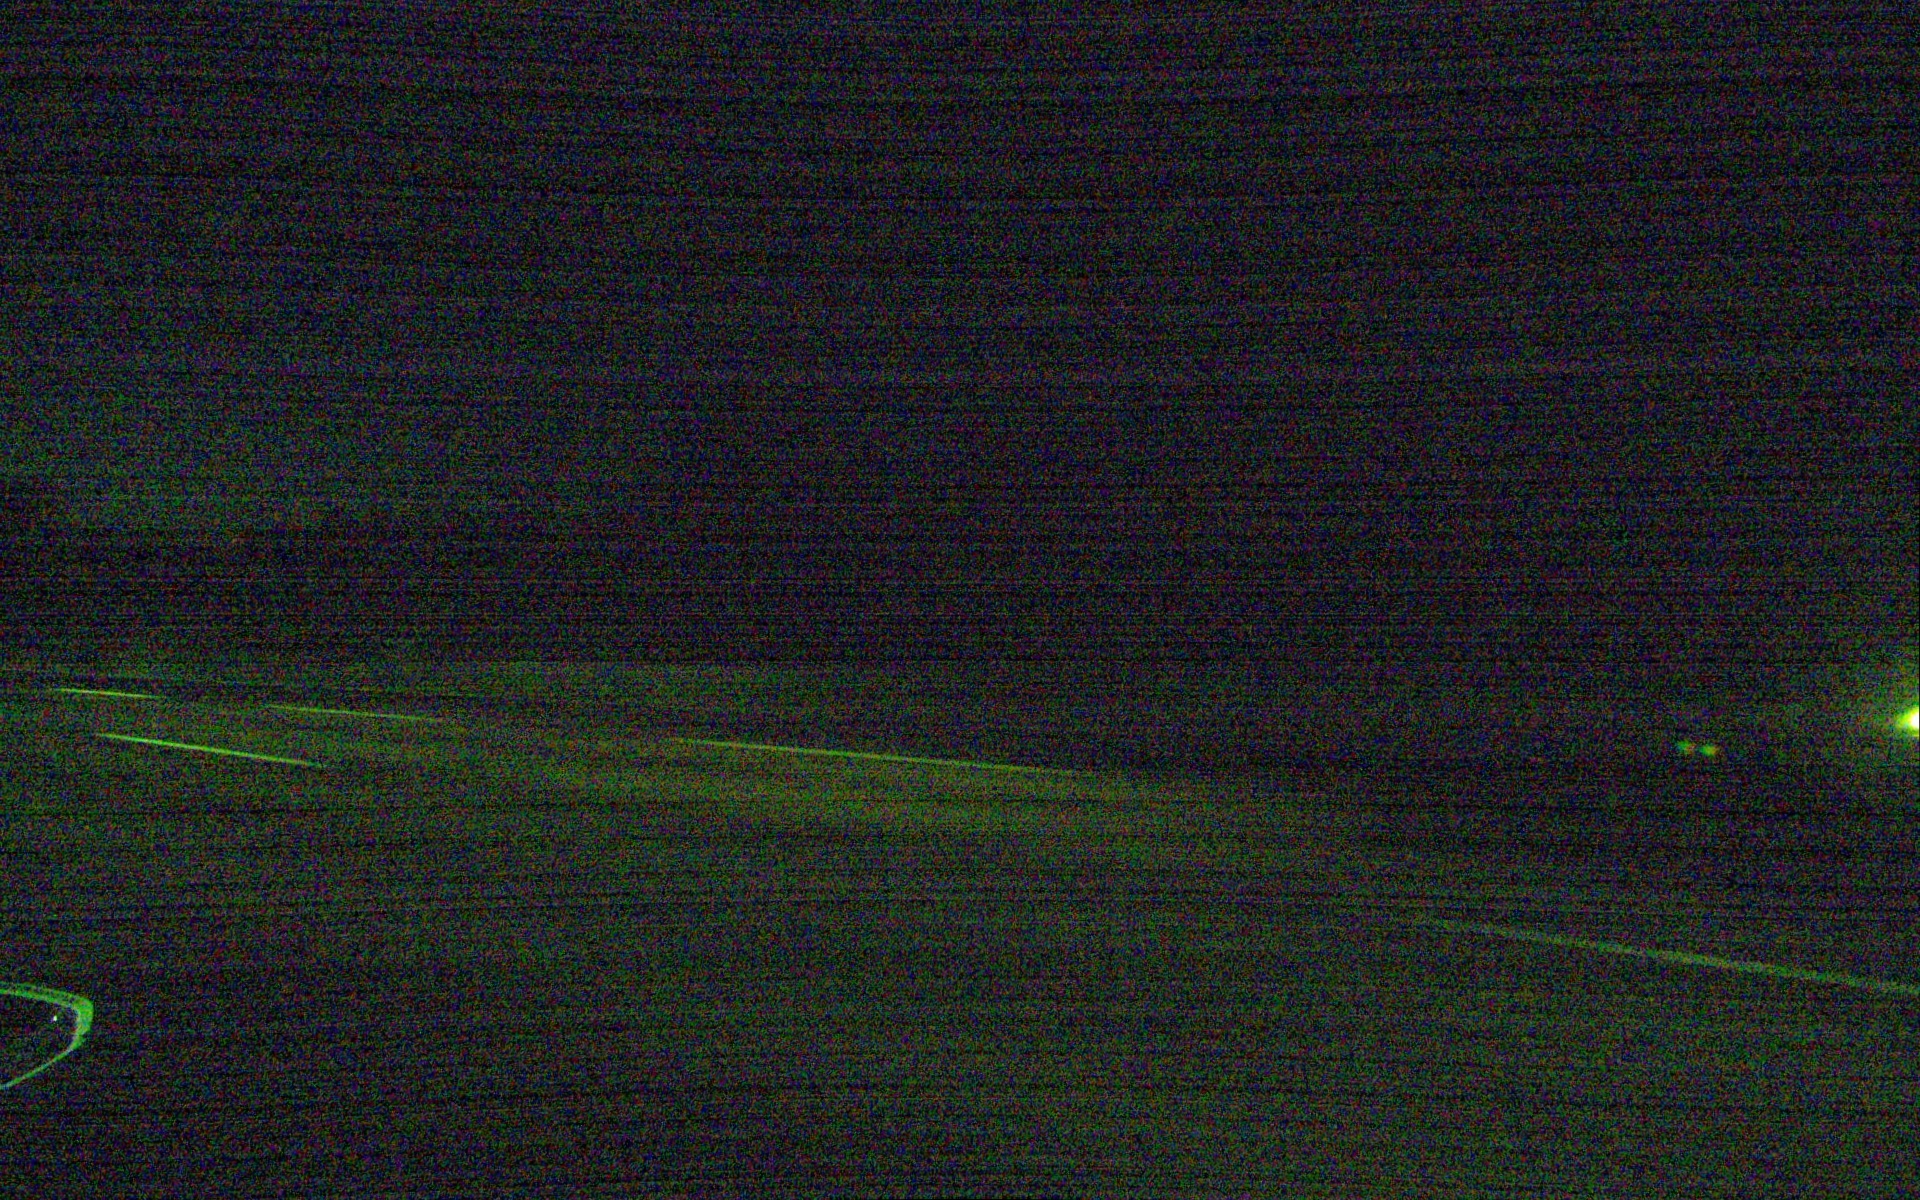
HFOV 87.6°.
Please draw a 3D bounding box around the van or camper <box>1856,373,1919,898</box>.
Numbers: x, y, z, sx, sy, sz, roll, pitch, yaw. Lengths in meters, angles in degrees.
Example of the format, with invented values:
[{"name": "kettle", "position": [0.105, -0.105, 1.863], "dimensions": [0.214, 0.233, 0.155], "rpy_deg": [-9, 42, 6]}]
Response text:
[{"name": "van or camper", "position": [8.121, 0.165, 3.814], "dimensions": [6.707, 2.807, 2.203], "rpy_deg": [-1, -1, 32]}]
